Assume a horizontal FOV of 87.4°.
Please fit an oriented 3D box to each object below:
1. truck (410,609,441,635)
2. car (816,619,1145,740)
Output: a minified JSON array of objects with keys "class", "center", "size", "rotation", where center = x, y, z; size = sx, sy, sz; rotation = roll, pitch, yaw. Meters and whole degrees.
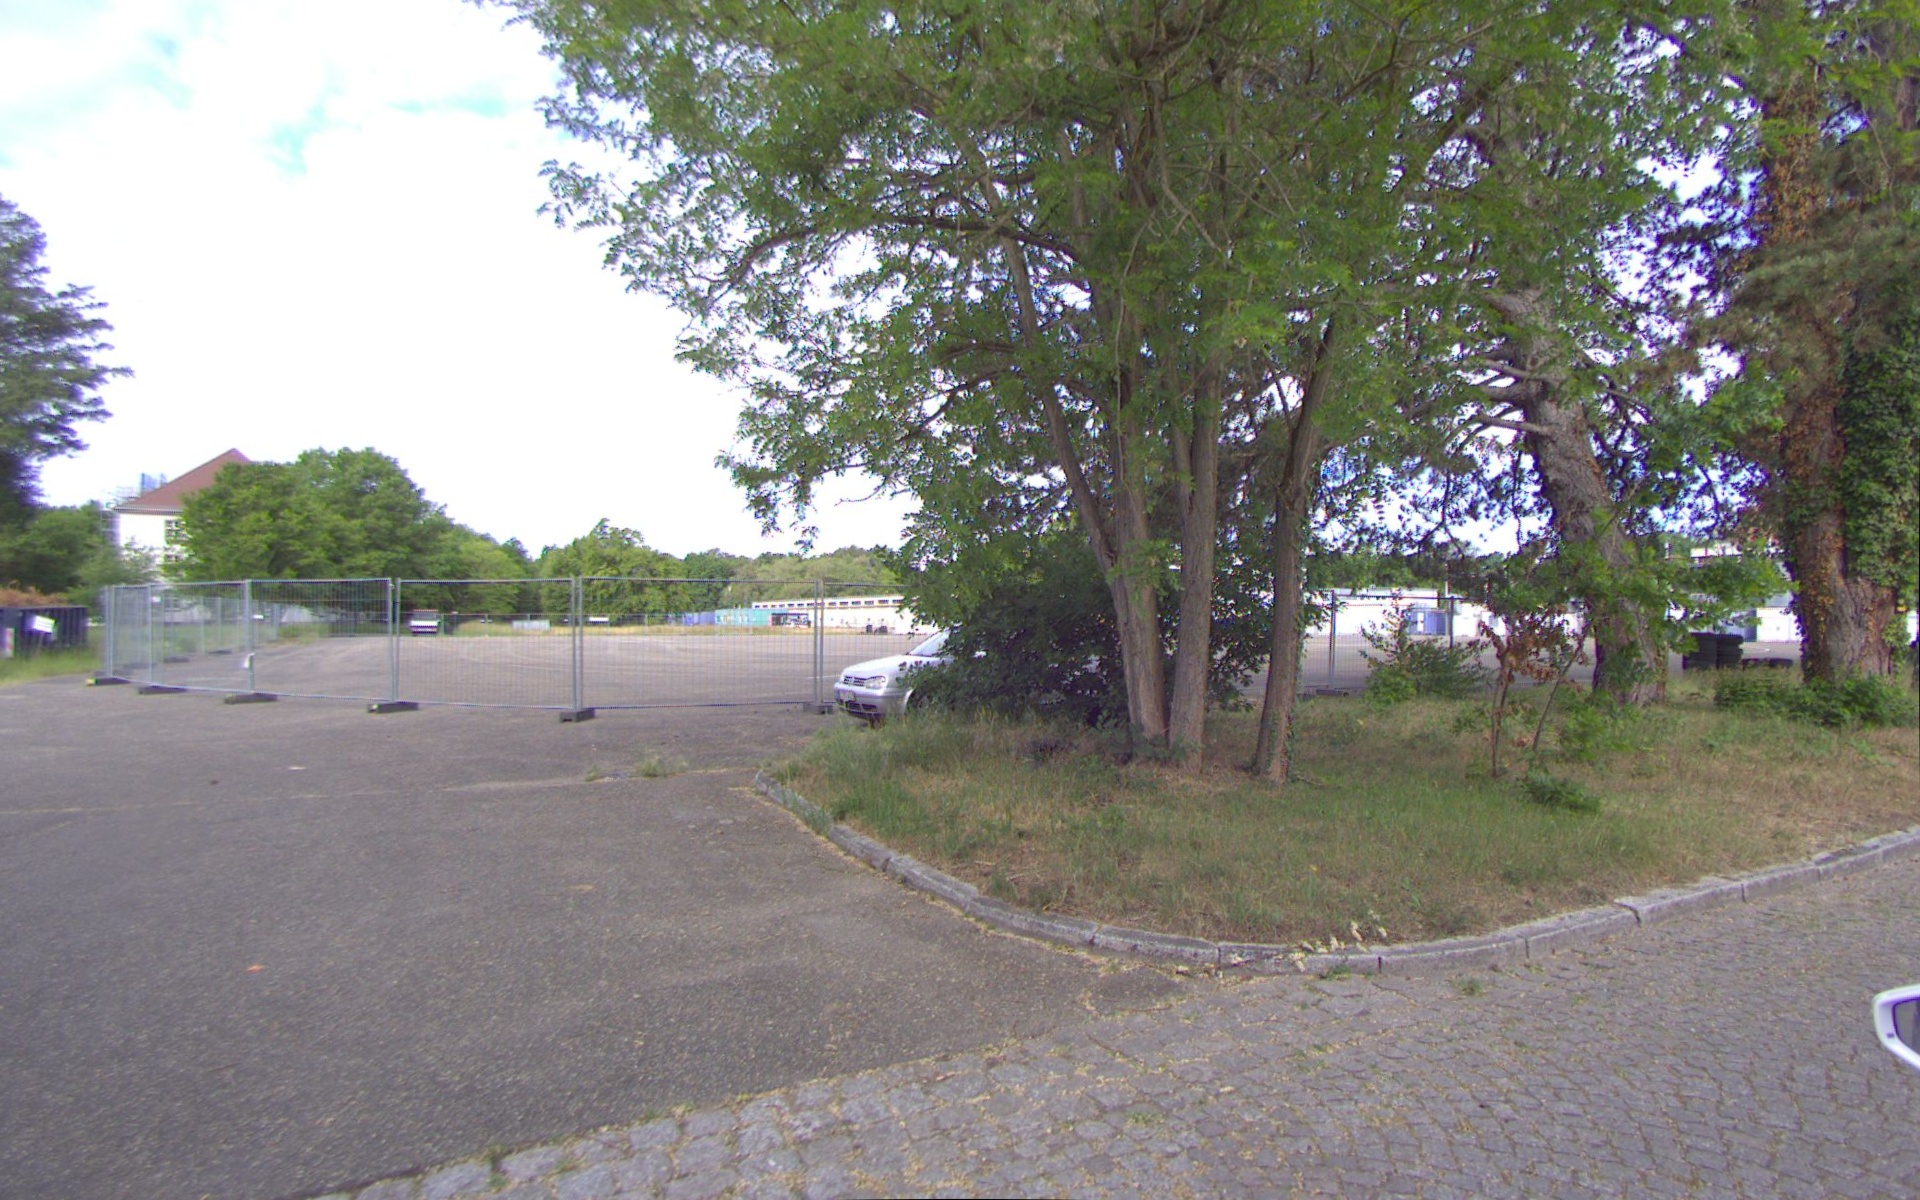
[{"class":"truck","center":[-48.140,1.947,90.425],"size":[2.346,2.227,6.505],"rotation":[1,-1,-29]},{"class":"car","center":[0.361,1.000,14.049],"size":[4.417,1.457,1.706],"rotation":[1,-1,-32]}]
